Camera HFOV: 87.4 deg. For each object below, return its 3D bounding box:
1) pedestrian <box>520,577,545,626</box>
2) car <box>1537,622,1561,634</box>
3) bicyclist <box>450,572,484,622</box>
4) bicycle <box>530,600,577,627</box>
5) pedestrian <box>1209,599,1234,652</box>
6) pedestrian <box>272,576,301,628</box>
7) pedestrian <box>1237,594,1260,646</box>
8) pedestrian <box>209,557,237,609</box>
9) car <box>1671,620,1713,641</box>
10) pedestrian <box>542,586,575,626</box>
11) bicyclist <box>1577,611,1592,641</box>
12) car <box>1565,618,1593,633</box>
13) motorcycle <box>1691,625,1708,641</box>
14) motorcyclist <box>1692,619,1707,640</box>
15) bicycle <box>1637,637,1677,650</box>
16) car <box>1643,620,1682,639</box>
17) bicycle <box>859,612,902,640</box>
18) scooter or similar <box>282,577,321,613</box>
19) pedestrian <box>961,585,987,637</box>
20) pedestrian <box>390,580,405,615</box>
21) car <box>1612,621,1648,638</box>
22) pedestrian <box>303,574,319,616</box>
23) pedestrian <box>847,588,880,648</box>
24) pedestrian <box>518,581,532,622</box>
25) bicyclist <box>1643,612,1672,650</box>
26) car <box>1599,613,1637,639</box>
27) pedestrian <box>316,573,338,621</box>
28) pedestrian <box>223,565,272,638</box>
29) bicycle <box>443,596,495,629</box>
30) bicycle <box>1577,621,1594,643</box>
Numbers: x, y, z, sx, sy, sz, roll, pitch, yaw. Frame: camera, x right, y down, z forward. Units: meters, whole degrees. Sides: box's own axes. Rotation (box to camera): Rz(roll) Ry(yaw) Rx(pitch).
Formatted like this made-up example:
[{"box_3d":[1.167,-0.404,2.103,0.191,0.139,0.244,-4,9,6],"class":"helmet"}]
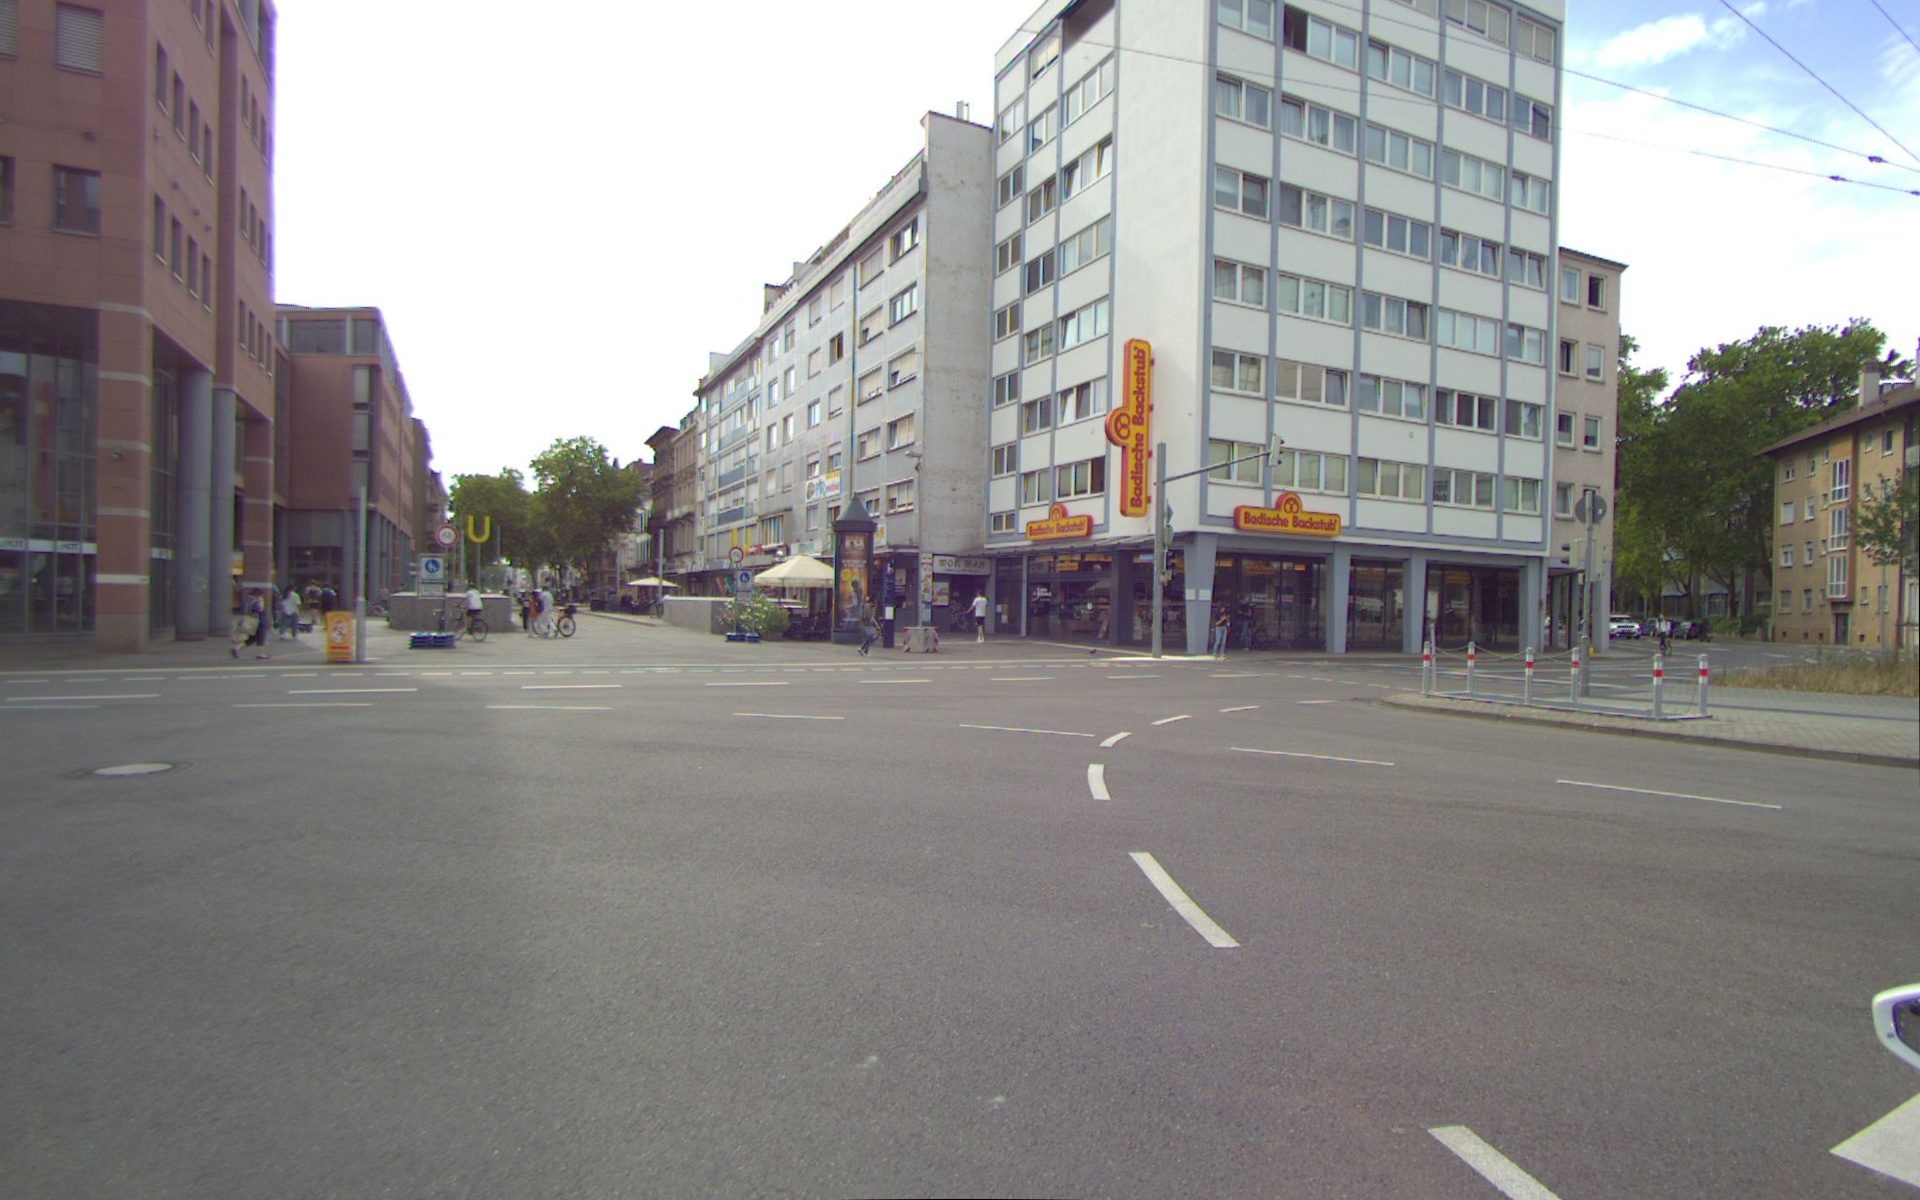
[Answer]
[{"box_3d":[-14.710,0.064,34.569,0.458,1.663,0.632,2,1,25],"class":"pedestrian"},{"box_3d":[75.256,3.601,128.320,1.648,1.412,4.462,2,0,18],"class":"car"},{"box_3d":[-15.951,-0.089,32.501,0.867,1.590,0.546,2,1,24],"class":"bicyclist"},{"box_3d":[-14.405,0.473,35.586,1.754,0.900,0.473,2,1,24],"class":"bicycle"},{"box_3d":[7.941,0.770,30.510,0.512,1.580,0.495,1,1,-33],"class":"pedestrian"},{"box_3d":[-19.601,0.062,29.238,0.573,1.492,0.651,1,1,-25],"class":"pedestrian"},{"box_3d":[10.052,0.702,35.045,0.581,1.789,0.474,0,1,-26],"class":"pedestrian"},{"box_3d":[-24.313,-0.551,33.151,0.512,1.685,0.579,2,1,31],"class":"pedestrian"},{"box_3d":[59.254,2.448,81.365,1.630,1.441,3.866,2,1,19],"class":"car"},{"box_3d":[-14.186,0.205,35.503,0.848,1.393,0.632,2,1,23],"class":"pedestrian"},{"box_3d":[37.441,1.560,60.207,0.529,1.767,0.758,1,0,19],"class":"bicyclist"},{"box_3d":[68.323,2.829,110.857,1.602,1.489,4.318,2,0,18],"class":"car"},{"box_3d":[49.325,2.211,67.021,0.332,1.021,1.266,1,0,10],"class":"motorcycle"},{"box_3d":[49.297,1.949,66.940,0.514,1.330,0.677,1,1,10],"class":"motorcyclist"},{"box_3d":[31.395,1.961,45.244,1.970,0.596,0.482,1,0,-23],"class":"bicycle"},{"box_3d":[60.226,2.483,86.158,1.630,1.441,3.947,2,1,19],"class":"car"},{"box_3d":[-2.995,0.969,37.704,1.761,1.002,0.471,2,1,40],"class":"bicycle"},{"box_3d":[-22.357,-0.159,34.098,1.267,1.184,0.383,2,0,17],"class":"scooter or similar"},{"box_3d":[0.509,0.386,37.072,0.573,1.884,0.859,1,1,-27],"class":"pedestrian"},{"box_3d":[-27.220,-0.104,48.598,0.573,1.685,0.517,1,1,-25],"class":"pedestrian"},{"box_3d":[63.308,2.750,94.957,1.648,1.412,4.462,2,0,18],"class":"car"},{"box_3d":[-26.239,-0.206,40.591,0.458,1.685,0.517,1,1,-25],"class":"pedestrian"},{"box_3d":[-2.680,0.496,27.917,0.647,1.615,0.688,1,1,21],"class":"pedestrian"},{"box_3d":[-17.349,0.052,40.065,0.514,1.598,0.504,1,1,-24],"class":"pedestrian"},{"box_3d":[31.312,1.405,45.099,1.023,1.668,0.606,1,1,-23],"class":"bicyclist"},{"box_3d":[45.706,1.788,69.808,1.804,1.682,4.317,2,0,29],"class":"car"},{"box_3d":[-22.805,-0.102,36.200,0.573,1.685,0.517,1,1,-25],"class":"pedestrian"},{"box_3d":[-14.967,0.040,21.118,0.675,1.492,0.794,1,1,-25],"class":"pedestrian"},{"box_3d":[-15.891,0.404,32.486,1.754,1.002,0.473,2,1,24],"class":"bicycle"},{"box_3d":[37.379,1.917,60.037,0.503,1.241,1.564,1,0,18],"class":"bicycle"}]
